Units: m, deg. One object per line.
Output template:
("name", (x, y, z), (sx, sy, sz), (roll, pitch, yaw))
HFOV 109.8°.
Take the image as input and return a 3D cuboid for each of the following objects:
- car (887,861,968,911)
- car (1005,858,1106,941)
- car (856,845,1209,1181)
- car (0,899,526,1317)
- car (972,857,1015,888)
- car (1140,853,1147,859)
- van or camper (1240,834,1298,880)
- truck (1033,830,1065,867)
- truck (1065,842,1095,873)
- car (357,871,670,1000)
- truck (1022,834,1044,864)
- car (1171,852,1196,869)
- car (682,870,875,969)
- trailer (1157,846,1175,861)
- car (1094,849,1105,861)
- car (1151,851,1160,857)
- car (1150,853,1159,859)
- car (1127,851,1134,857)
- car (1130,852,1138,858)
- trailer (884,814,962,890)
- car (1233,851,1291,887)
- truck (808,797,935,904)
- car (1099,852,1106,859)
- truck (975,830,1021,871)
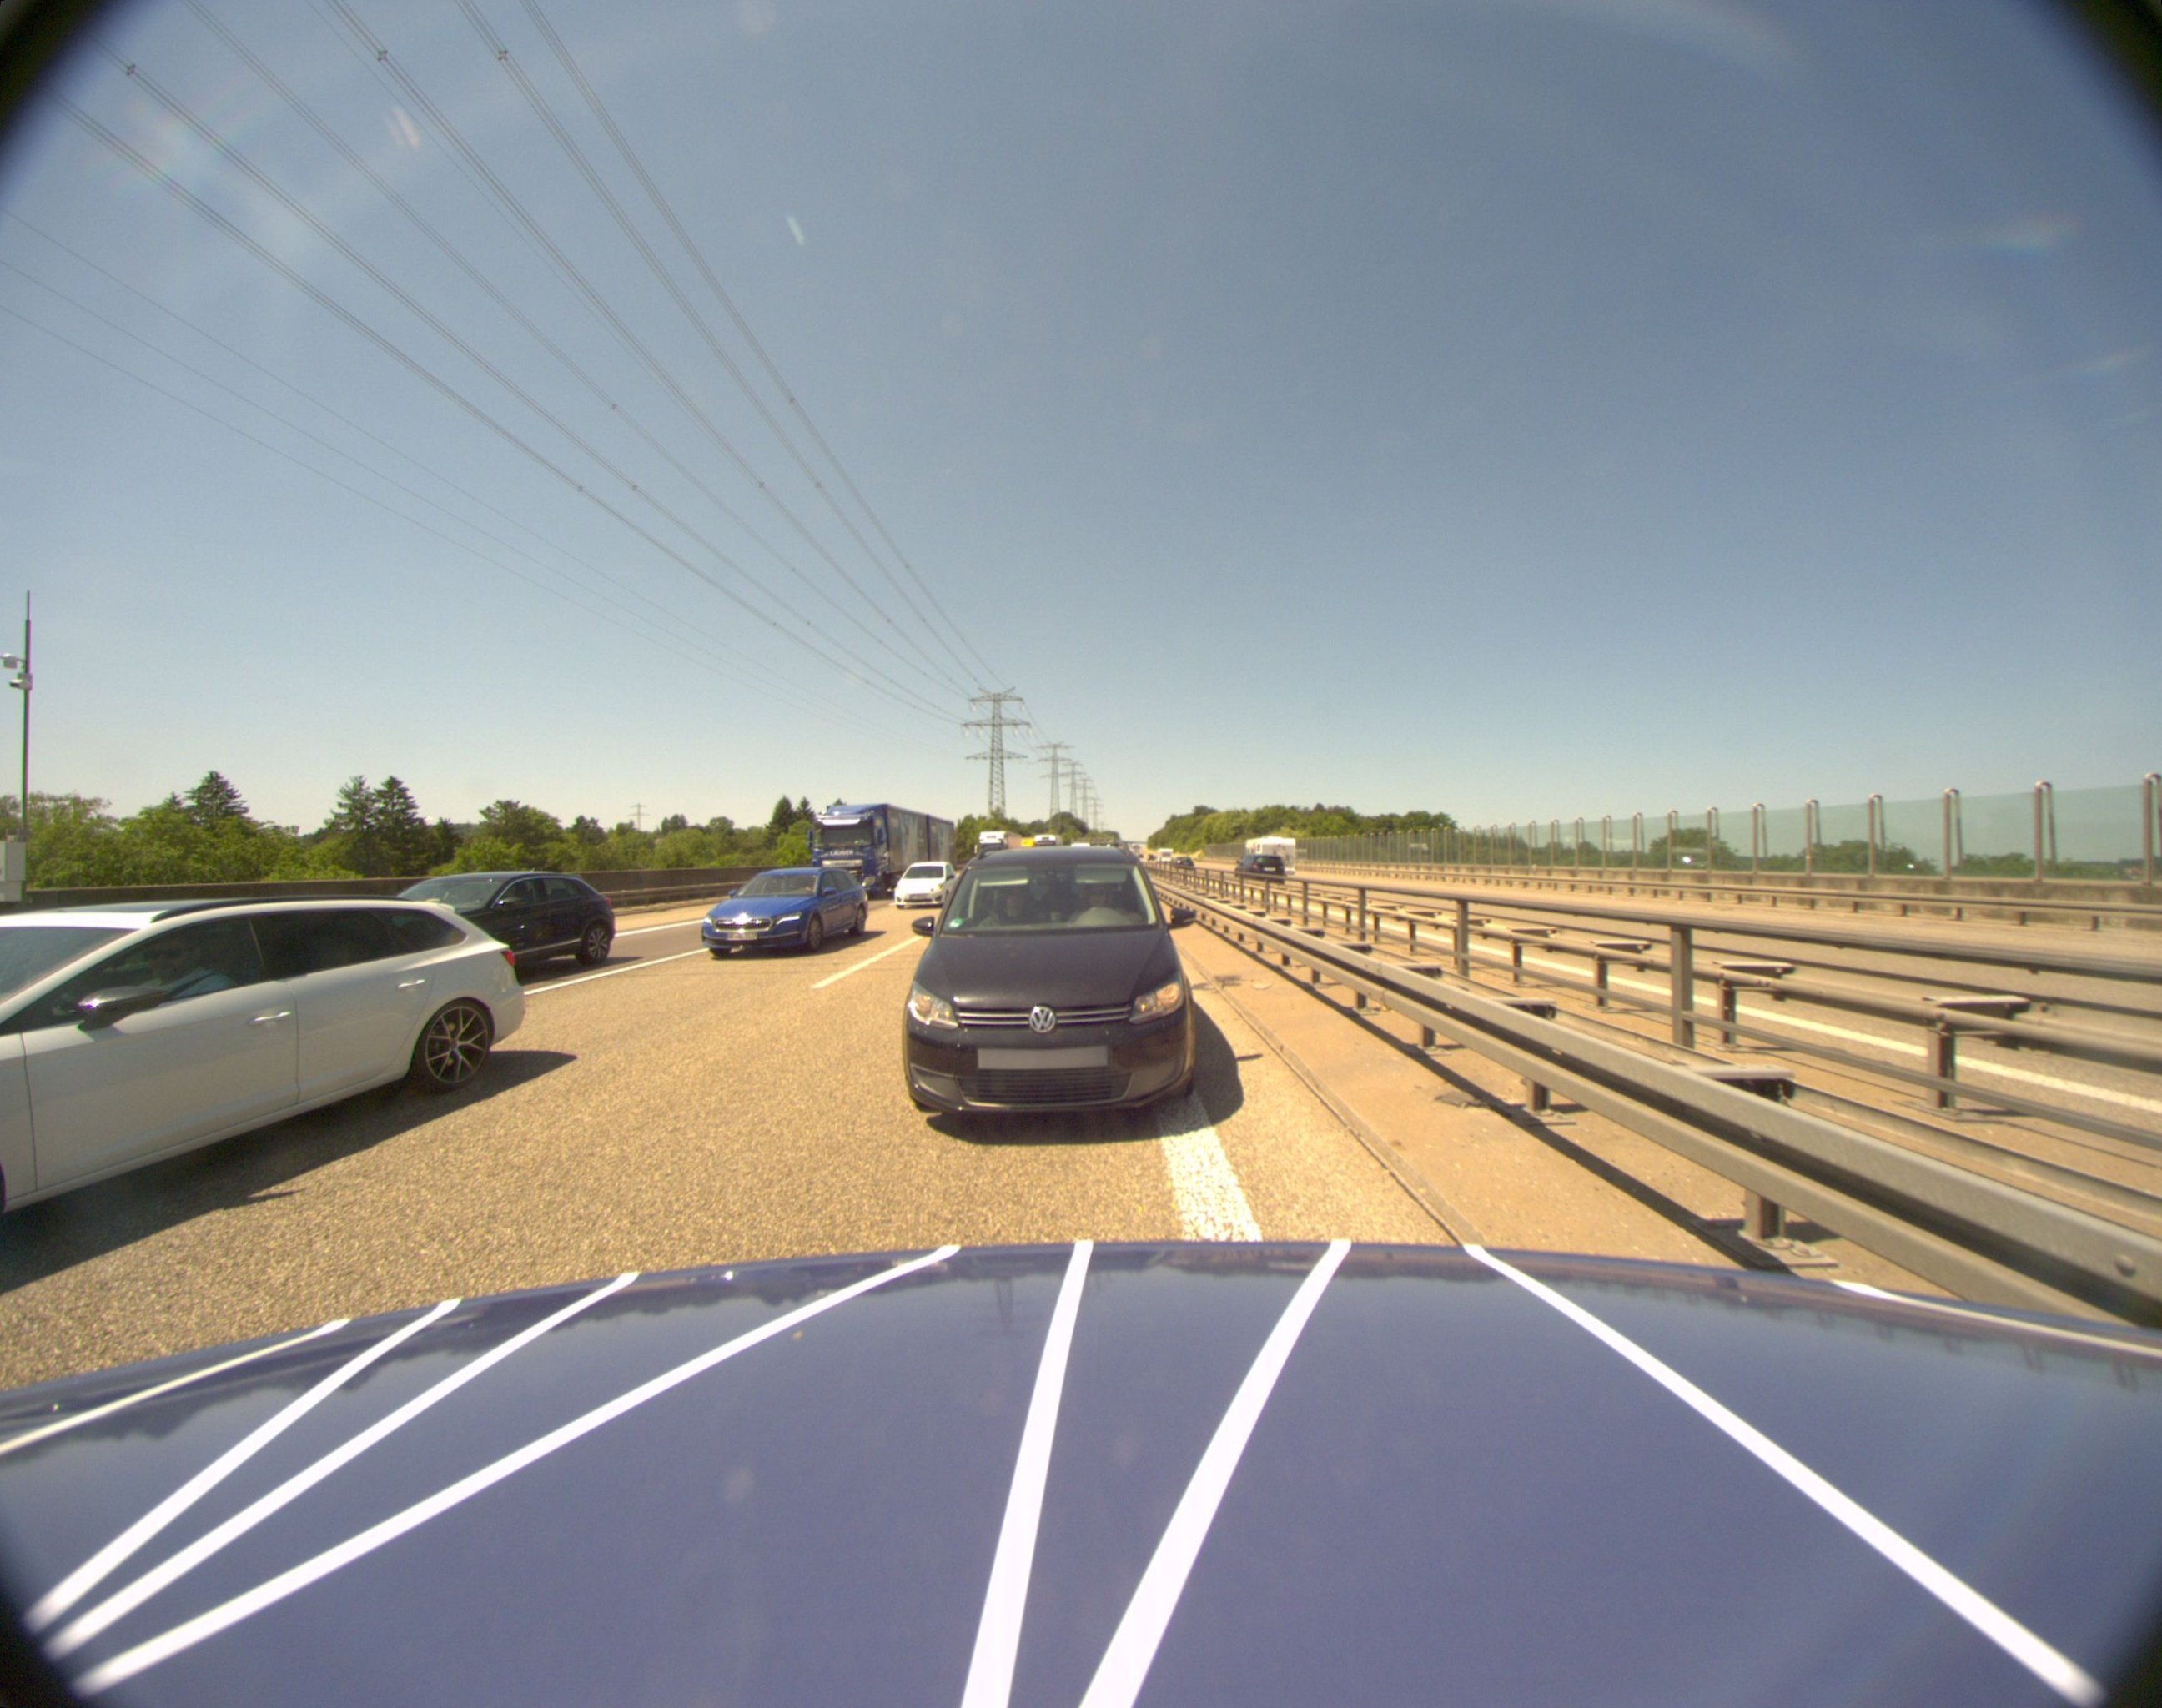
("car", (-5.115, 1.012, 25.836), (1.762, 1.495, 4.095), (-1, 0, 2))
("car", (-0.449, 0.859, 16.357), (1.845, 1.495, 4.377), (-1, 0, 1))
("car", (-0.231, 0.801, 5.867), (1.740, 1.652, 4.000), (-2, 0, 0))
("car", (-5.254, 1.130, 3.870), (1.843, 1.481, 4.071), (-2, 0, -1))
("car", (-4.603, 0.958, 40.422), (1.763, 1.495, 4.094), (-1, 0, 0))
("car", (19.247, 0.557, 233.898), (1.998, 2.002, 4.000), (0, 0, 1))
("van or camper", (13.329, 0.204, 54.436), (2.428, 3.006, 7.026), (1, 0, 1))
("truck", (-3.643, -0.636, 88.111), (2.980, 3.832, 10.562), (-2, 0, 1))
("truck", (-0.031, 0.267, 64.808), (2.284, 2.479, 5.861), (-2, 0, 1))
("car", (-8.524, 1.116, 11.975), (1.740, 1.518, 4.106), (-2, 0, 1))
("truck", (-6.784, -0.745, 107.919), (2.346, 4.058, 8.279), (-2, 0, 1))
("car", (9.675, 0.582, 71.991), (1.872, 1.523, 4.424), (2, 0, 1))
("car", (-5.356, 1.082, 14.104), (1.739, 1.437, 4.211), (-1, 0, 2))
("trailer", (15.054, -0.104, 135.062), (2.499, 2.534, 6.774), (1, 0, 1))
("car", (3.263, 0.102, 134.566), (1.998, 2.002, 4.000), (-2, 0, 1))
("car", (21.222, -0.006, 215.370), (1.998, 1.874, 5.256), (2, 0, 0))
("car", (17.127, 0.467, 177.151), (1.734, 1.483, 4.419), (1, 0, 0))
("car", (13.108, 0.002, 202.214), (1.672, 1.439, 4.001), (2, 0, 2))
("car", (12.081, 0.210, 172.759), (1.672, 1.439, 4.001), (2, 0, 2))
("trailer", (-8.938, -0.077, 44.093), (2.572, 3.921, 8.480), (-2, 0, 1))
("car", (8.970, 0.694, 37.945), (1.872, 1.690, 4.430), (0, 0, 0))
("truck", (-9.097, -0.156, 34.601), (2.529, 4.043, 10.447), (-2, 0, 1))
("car", (5.826, 0.355, 202.376), (1.805, 2.002, 4.000), (0, 0, 1))
("truck", (-7.931, -0.347, 74.134), (2.985, 3.538, 10.967), (-2, 0, 1))
